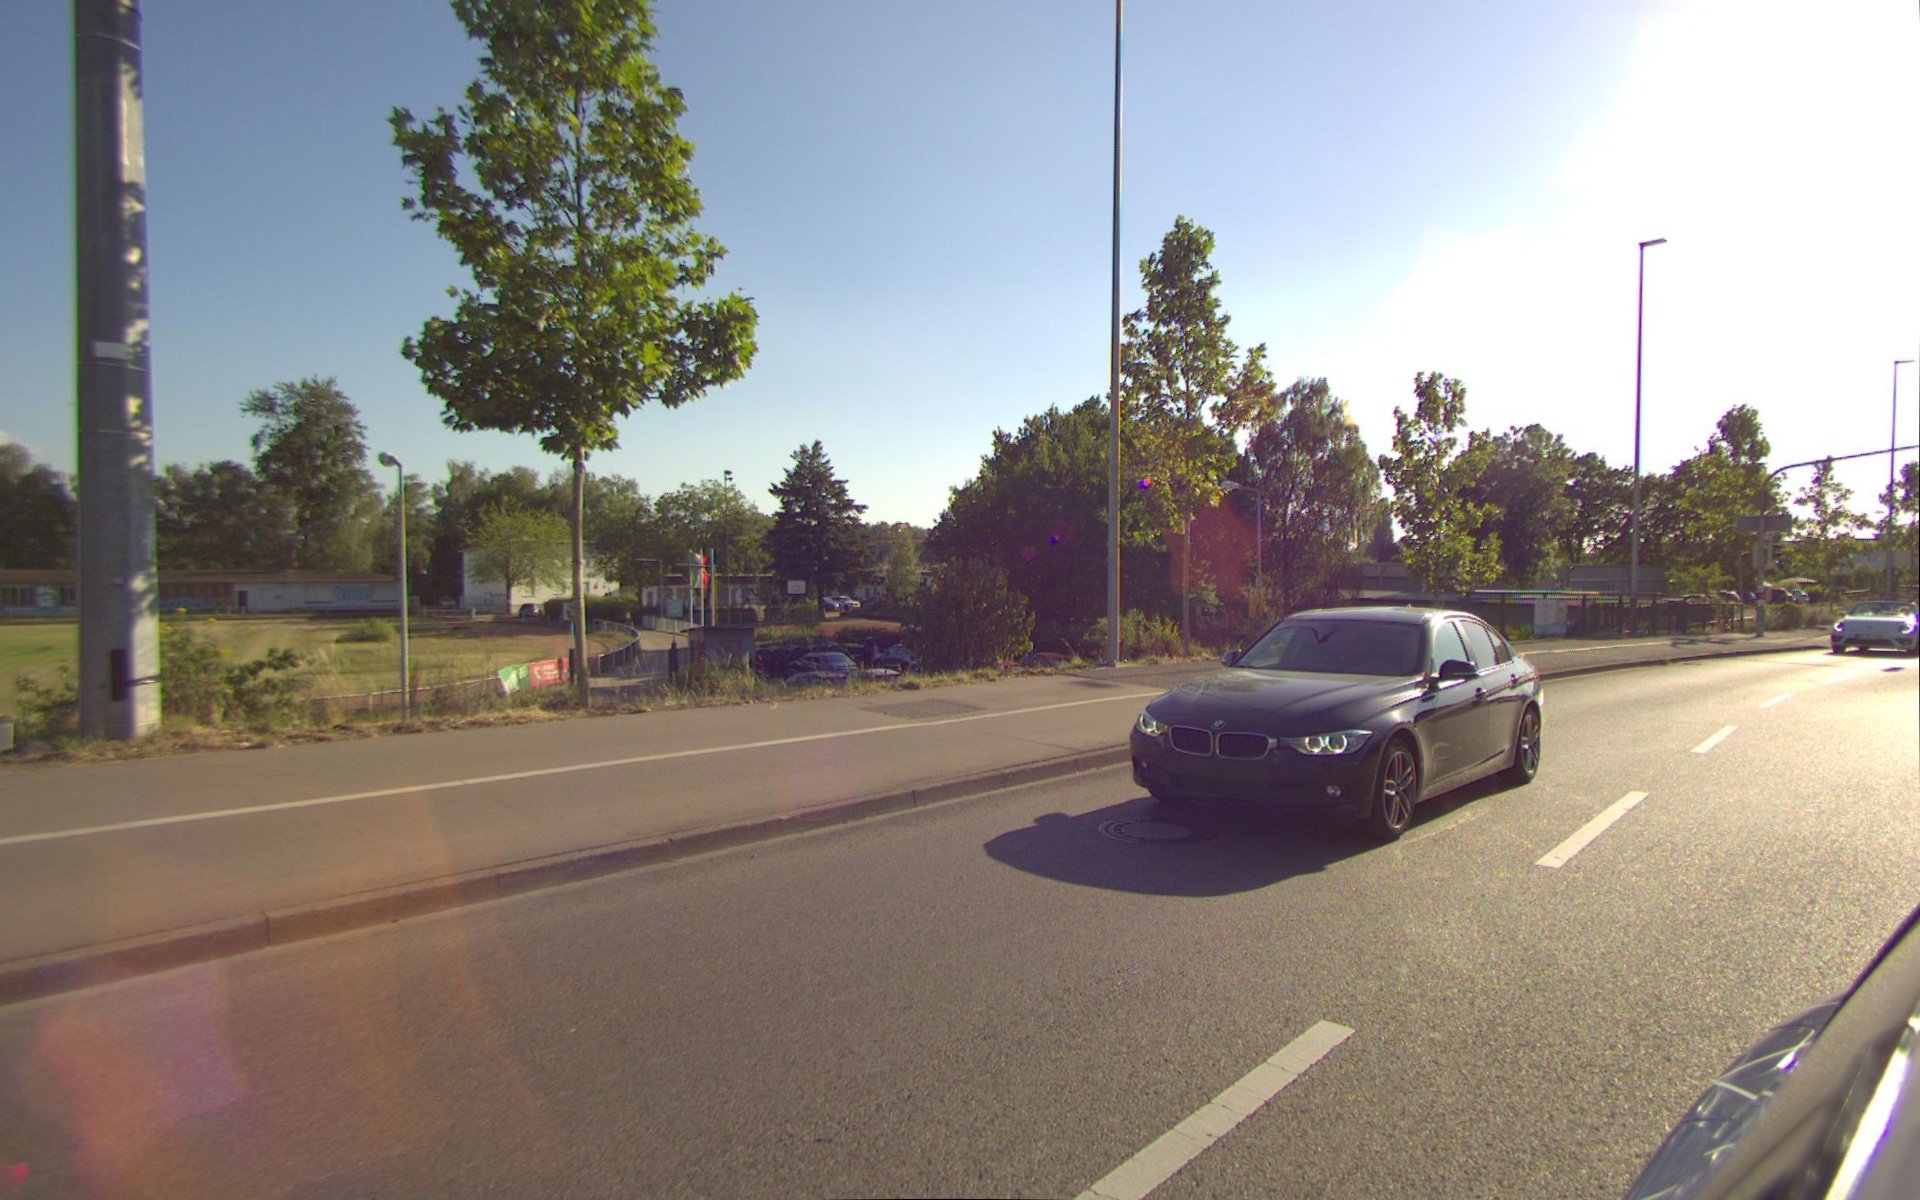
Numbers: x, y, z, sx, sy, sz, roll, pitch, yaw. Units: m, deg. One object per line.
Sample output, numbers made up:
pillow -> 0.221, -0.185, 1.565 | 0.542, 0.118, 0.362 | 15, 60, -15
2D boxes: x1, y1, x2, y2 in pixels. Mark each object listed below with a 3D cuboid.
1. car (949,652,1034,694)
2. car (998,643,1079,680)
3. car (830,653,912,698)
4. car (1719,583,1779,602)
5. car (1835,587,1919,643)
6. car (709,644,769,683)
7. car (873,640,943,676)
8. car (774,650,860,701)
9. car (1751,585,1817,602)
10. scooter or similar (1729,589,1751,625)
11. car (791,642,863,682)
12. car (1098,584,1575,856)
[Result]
car -> 1.271, 3.019, 42.260 | 1.636, 1.468, 3.704 | -1, 0, -35
car -> 3.500, 2.732, 45.608 | 1.718, 1.466, 3.705 | -1, 0, -34
car -> -3.508, 2.886, 39.391 | 1.550, 1.466, 3.704 | -1, 0, -35
car -> 71.993, -0.656, 92.437 | 1.654, 1.606, 4.030 | 0, 0, -37
car -> 25.871, 0.370, 27.829 | 3.905, 1.441, 1.858 | 0, 1, -35
car -> -10.374, 2.948, 47.309 | 1.550, 1.596, 3.518 | -1, 0, -34
car -> -2.657, 2.883, 51.082 | 1.660, 1.590, 3.921 | -1, 0, -35
car -> -5.419, 2.781, 38.011 | 1.550, 1.596, 3.921 | 0, 0, -35
car -> 80.151, -0.607, 98.461 | 1.824, 1.589, 4.661 | 0, 0, -37
scooter or similar -> 27.842, 0.247, 36.122 | 0.523, 1.246, 1.247 | 2, 2, 42
car -> -6.318, 2.892, 47.831 | 1.751, 1.596, 3.921 | -1, 0, -35
car -> 3.169, 0.635, 7.902 | 1.866, 1.485, 4.514 | 0, 1, 44
